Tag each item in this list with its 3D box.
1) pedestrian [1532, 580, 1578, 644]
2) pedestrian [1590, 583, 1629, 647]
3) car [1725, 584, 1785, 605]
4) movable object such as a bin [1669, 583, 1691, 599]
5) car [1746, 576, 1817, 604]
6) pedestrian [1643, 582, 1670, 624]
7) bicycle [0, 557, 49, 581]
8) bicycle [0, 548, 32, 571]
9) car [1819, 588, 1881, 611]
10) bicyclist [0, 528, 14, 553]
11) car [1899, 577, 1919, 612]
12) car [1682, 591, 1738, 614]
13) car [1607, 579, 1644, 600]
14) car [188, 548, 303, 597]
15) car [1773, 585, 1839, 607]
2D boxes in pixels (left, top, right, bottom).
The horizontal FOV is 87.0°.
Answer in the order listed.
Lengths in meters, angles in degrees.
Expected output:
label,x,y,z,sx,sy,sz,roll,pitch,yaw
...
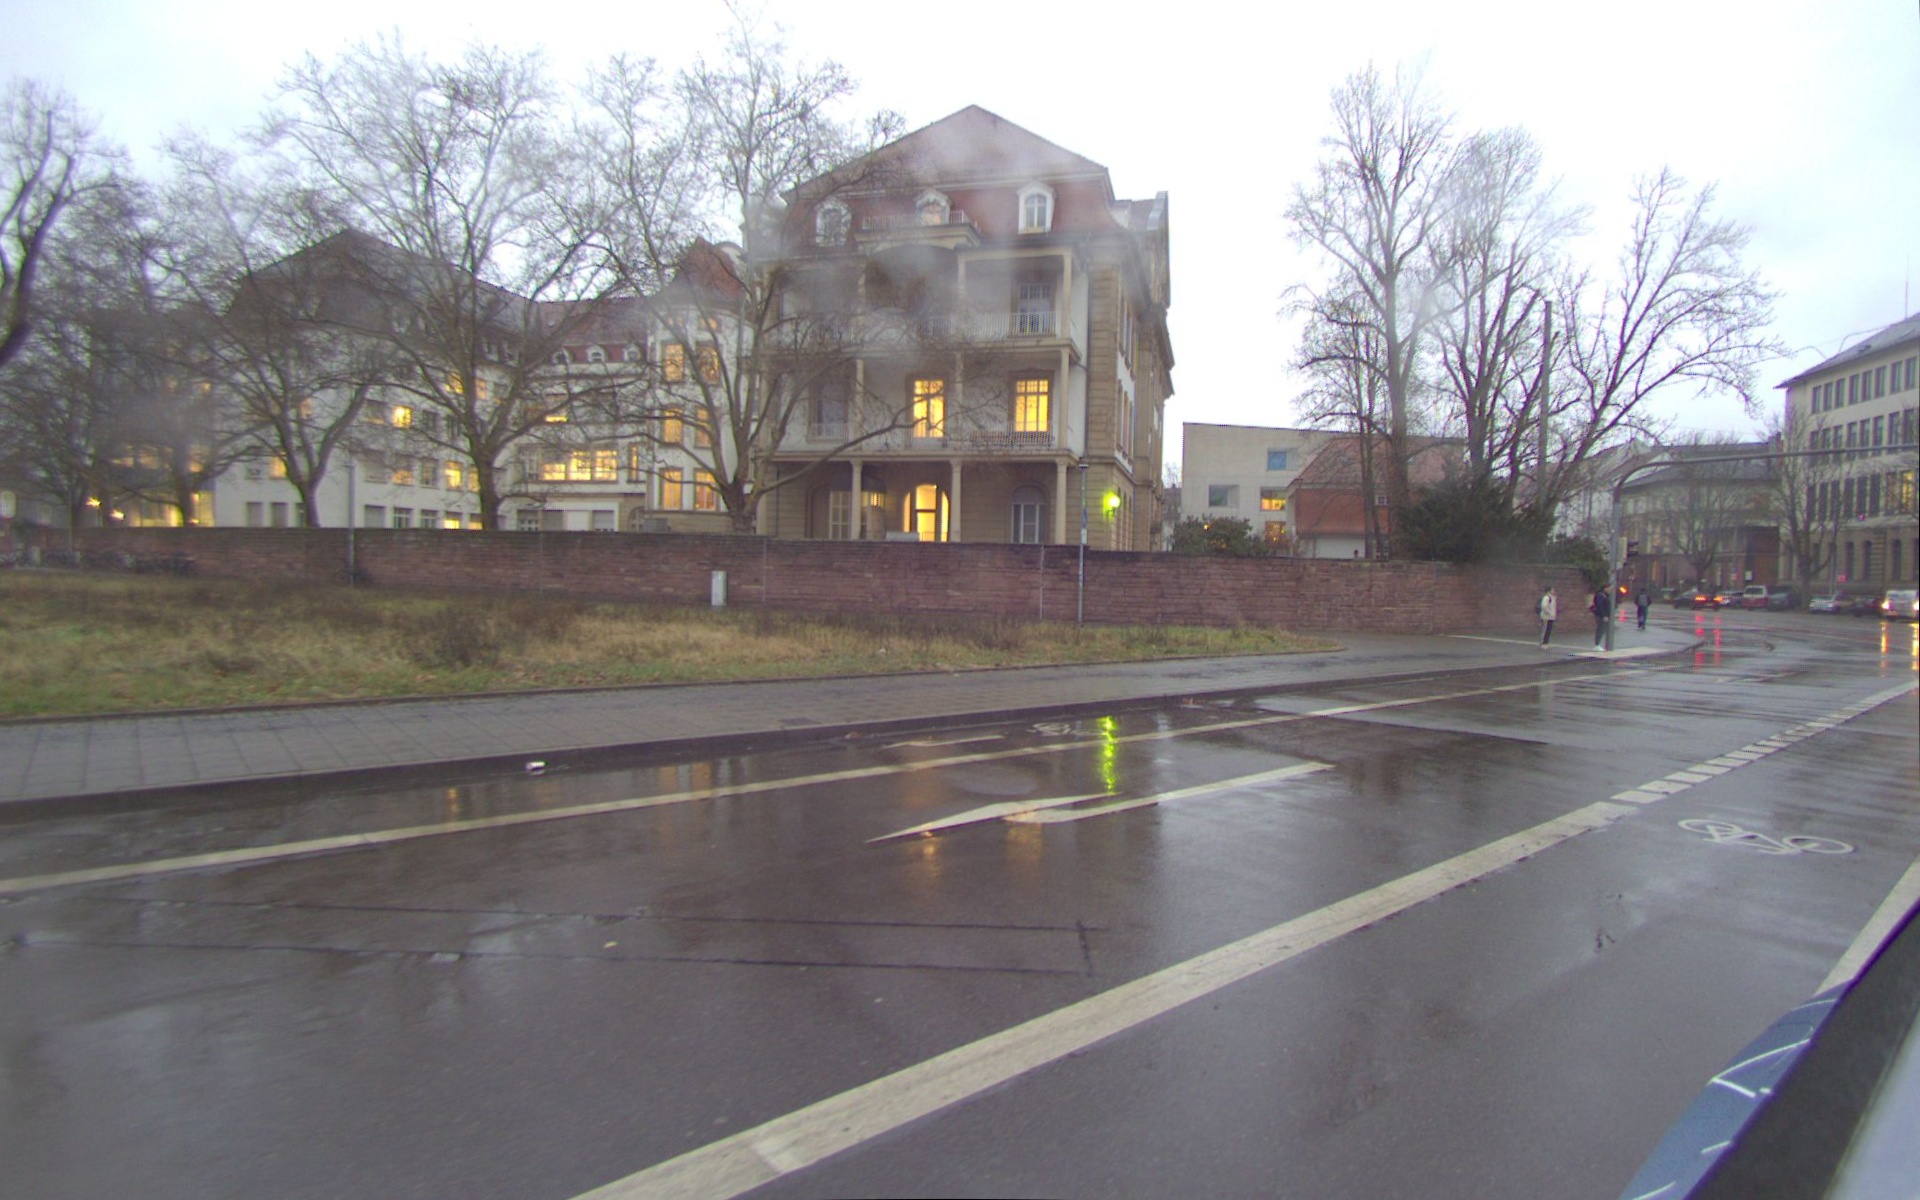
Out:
label,x,y,z,sx,sy,sz,roll,pitch,yaw
pedestrian,16.450,0.310,28.006,0.953,1.696,0.772,3,2,28
pedestrian,17.955,0.387,27.980,0.788,1.696,0.720,4,3,37
car,66.854,-0.500,85.112,4.097,1.610,1.779,-1,2,-14
movable object such as a bin,69.019,-0.906,97.025,0.966,1.482,1.347,-2,2,-22
car,64.961,-0.808,80.054,4.526,2.079,1.970,-1,2,-12
pedestrian,29.459,0.117,42.823,0.802,1.705,1.143,4,2,33
bicycle,-41.633,-1.365,44.445,2.371,1.003,0.479,-3,2,-41
bicycle,-42.495,-1.759,44.559,2.371,1.003,0.537,-3,2,-41
car,63.382,-0.048,72.067,3.746,1.475,1.641,-2,2,-18
bicyclist,-41.862,-2.608,44.244,0.689,1.093,0.494,-2,2,-40
car,59.499,-0.378,61.433,4.704,2.058,1.917,-2,2,-22
car,55.415,0.163,74.887,1.727,1.395,4.348,3,3,14
car,60.036,-0.968,91.398,1.739,1.682,4.500,3,2,20
car,-16.036,-0.625,22.823,1.275,0.989,2.688,2,2,-16
car,64.436,-0.328,77.110,3.894,1.558,1.828,-1,2,-12
